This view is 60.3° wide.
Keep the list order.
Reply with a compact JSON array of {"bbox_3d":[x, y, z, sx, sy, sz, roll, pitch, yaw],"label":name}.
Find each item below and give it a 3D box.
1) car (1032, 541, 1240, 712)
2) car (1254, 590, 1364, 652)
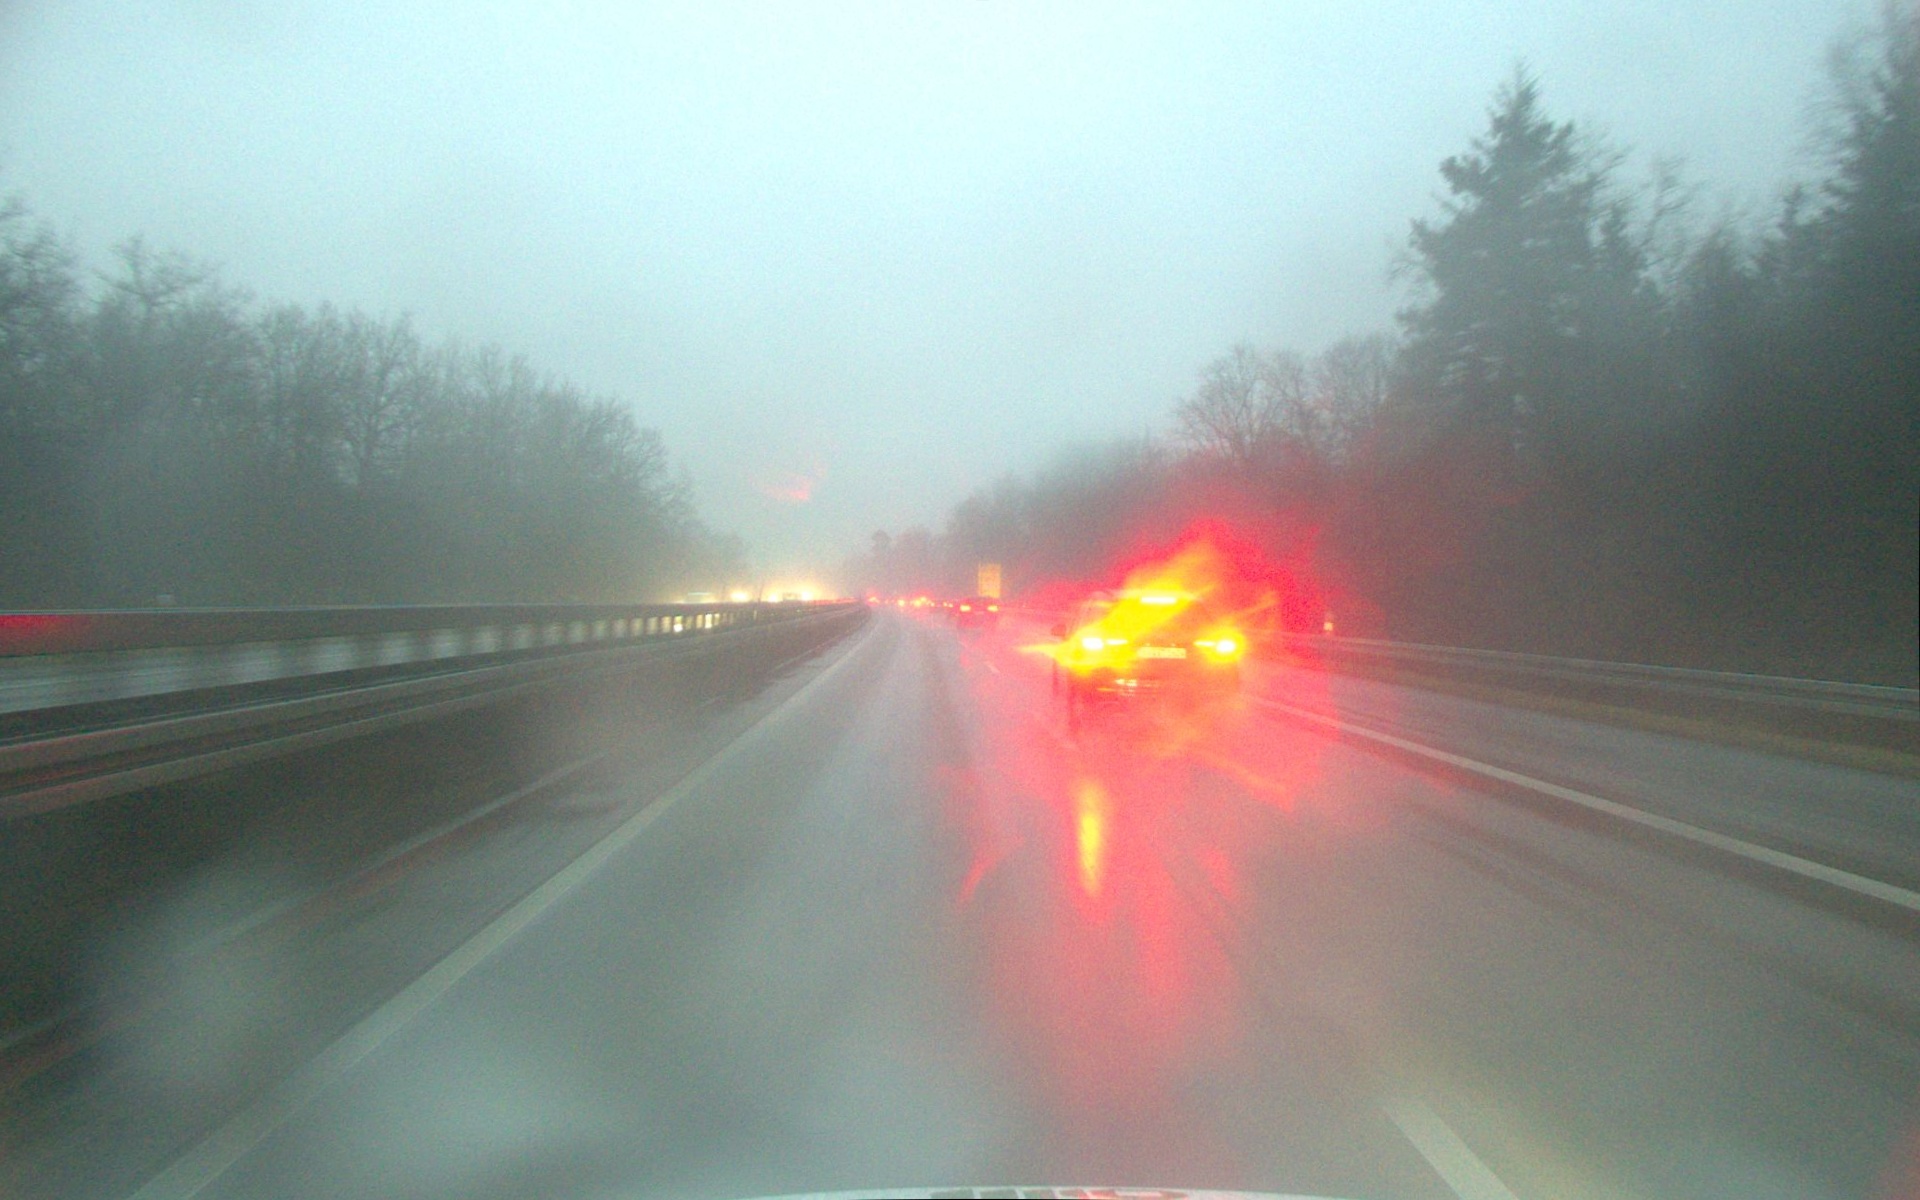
[{"bbox_3d":[1.993,0.303,19.875,1.886,1.823,3.938,1,-1,-3],"label":"car"},{"bbox_3d":[8.557,0.510,40.868,1.827,1.443,3.999,1,-1,-1],"label":"car"}]
